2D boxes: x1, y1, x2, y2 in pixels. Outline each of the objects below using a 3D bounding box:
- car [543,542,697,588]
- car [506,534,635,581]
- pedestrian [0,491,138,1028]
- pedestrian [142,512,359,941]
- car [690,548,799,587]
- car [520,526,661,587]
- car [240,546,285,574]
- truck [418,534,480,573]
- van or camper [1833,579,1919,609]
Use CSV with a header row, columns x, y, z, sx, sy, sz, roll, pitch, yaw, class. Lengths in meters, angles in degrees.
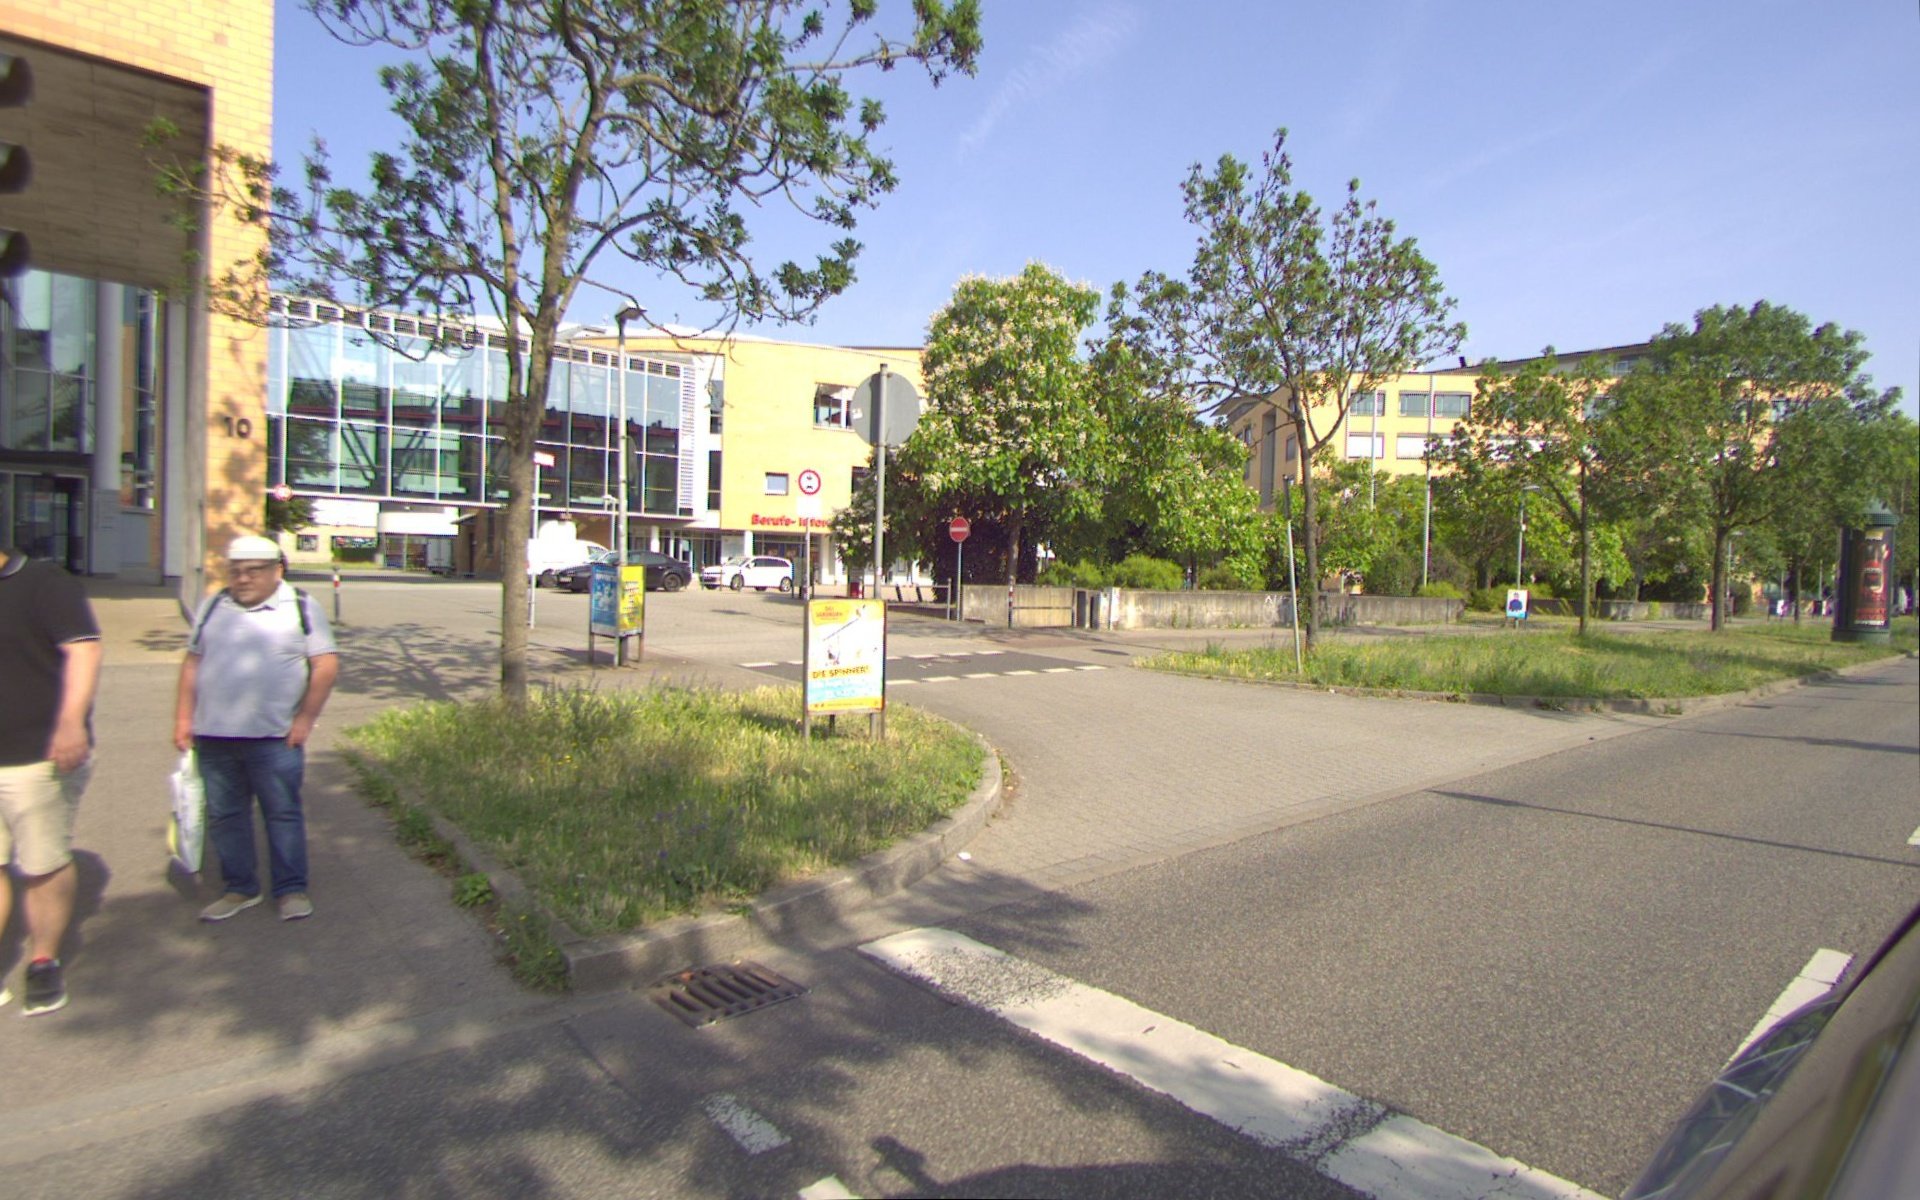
x,y,z,sx,sy,sz,roll,pitch,yaw,class
-11.261,-1.118,33.689,4.623,1.417,1.597,-1,0,-41,car
-14.982,-1.579,39.038,4.343,1.661,1.770,-1,0,-41,car
-3.200,0.476,3.369,0.677,1.666,0.706,0,3,-43,pedestrian
-3.091,0.470,4.398,0.677,1.666,0.706,0,3,-43,pedestrian
-8.801,-1.296,41.559,1.684,1.503,4.301,0,0,39,car
-13.238,-1.481,36.376,4.382,2.039,1.997,-1,0,-41,car
-41.671,-2.369,60.408,1.818,1.503,4.154,0,0,-40,car
-36.234,-3.273,71.941,2.022,2.518,6.017,0,0,-7,truck
84.647,-0.592,93.556,2.368,2.727,5.790,0,1,-43,van or camper
